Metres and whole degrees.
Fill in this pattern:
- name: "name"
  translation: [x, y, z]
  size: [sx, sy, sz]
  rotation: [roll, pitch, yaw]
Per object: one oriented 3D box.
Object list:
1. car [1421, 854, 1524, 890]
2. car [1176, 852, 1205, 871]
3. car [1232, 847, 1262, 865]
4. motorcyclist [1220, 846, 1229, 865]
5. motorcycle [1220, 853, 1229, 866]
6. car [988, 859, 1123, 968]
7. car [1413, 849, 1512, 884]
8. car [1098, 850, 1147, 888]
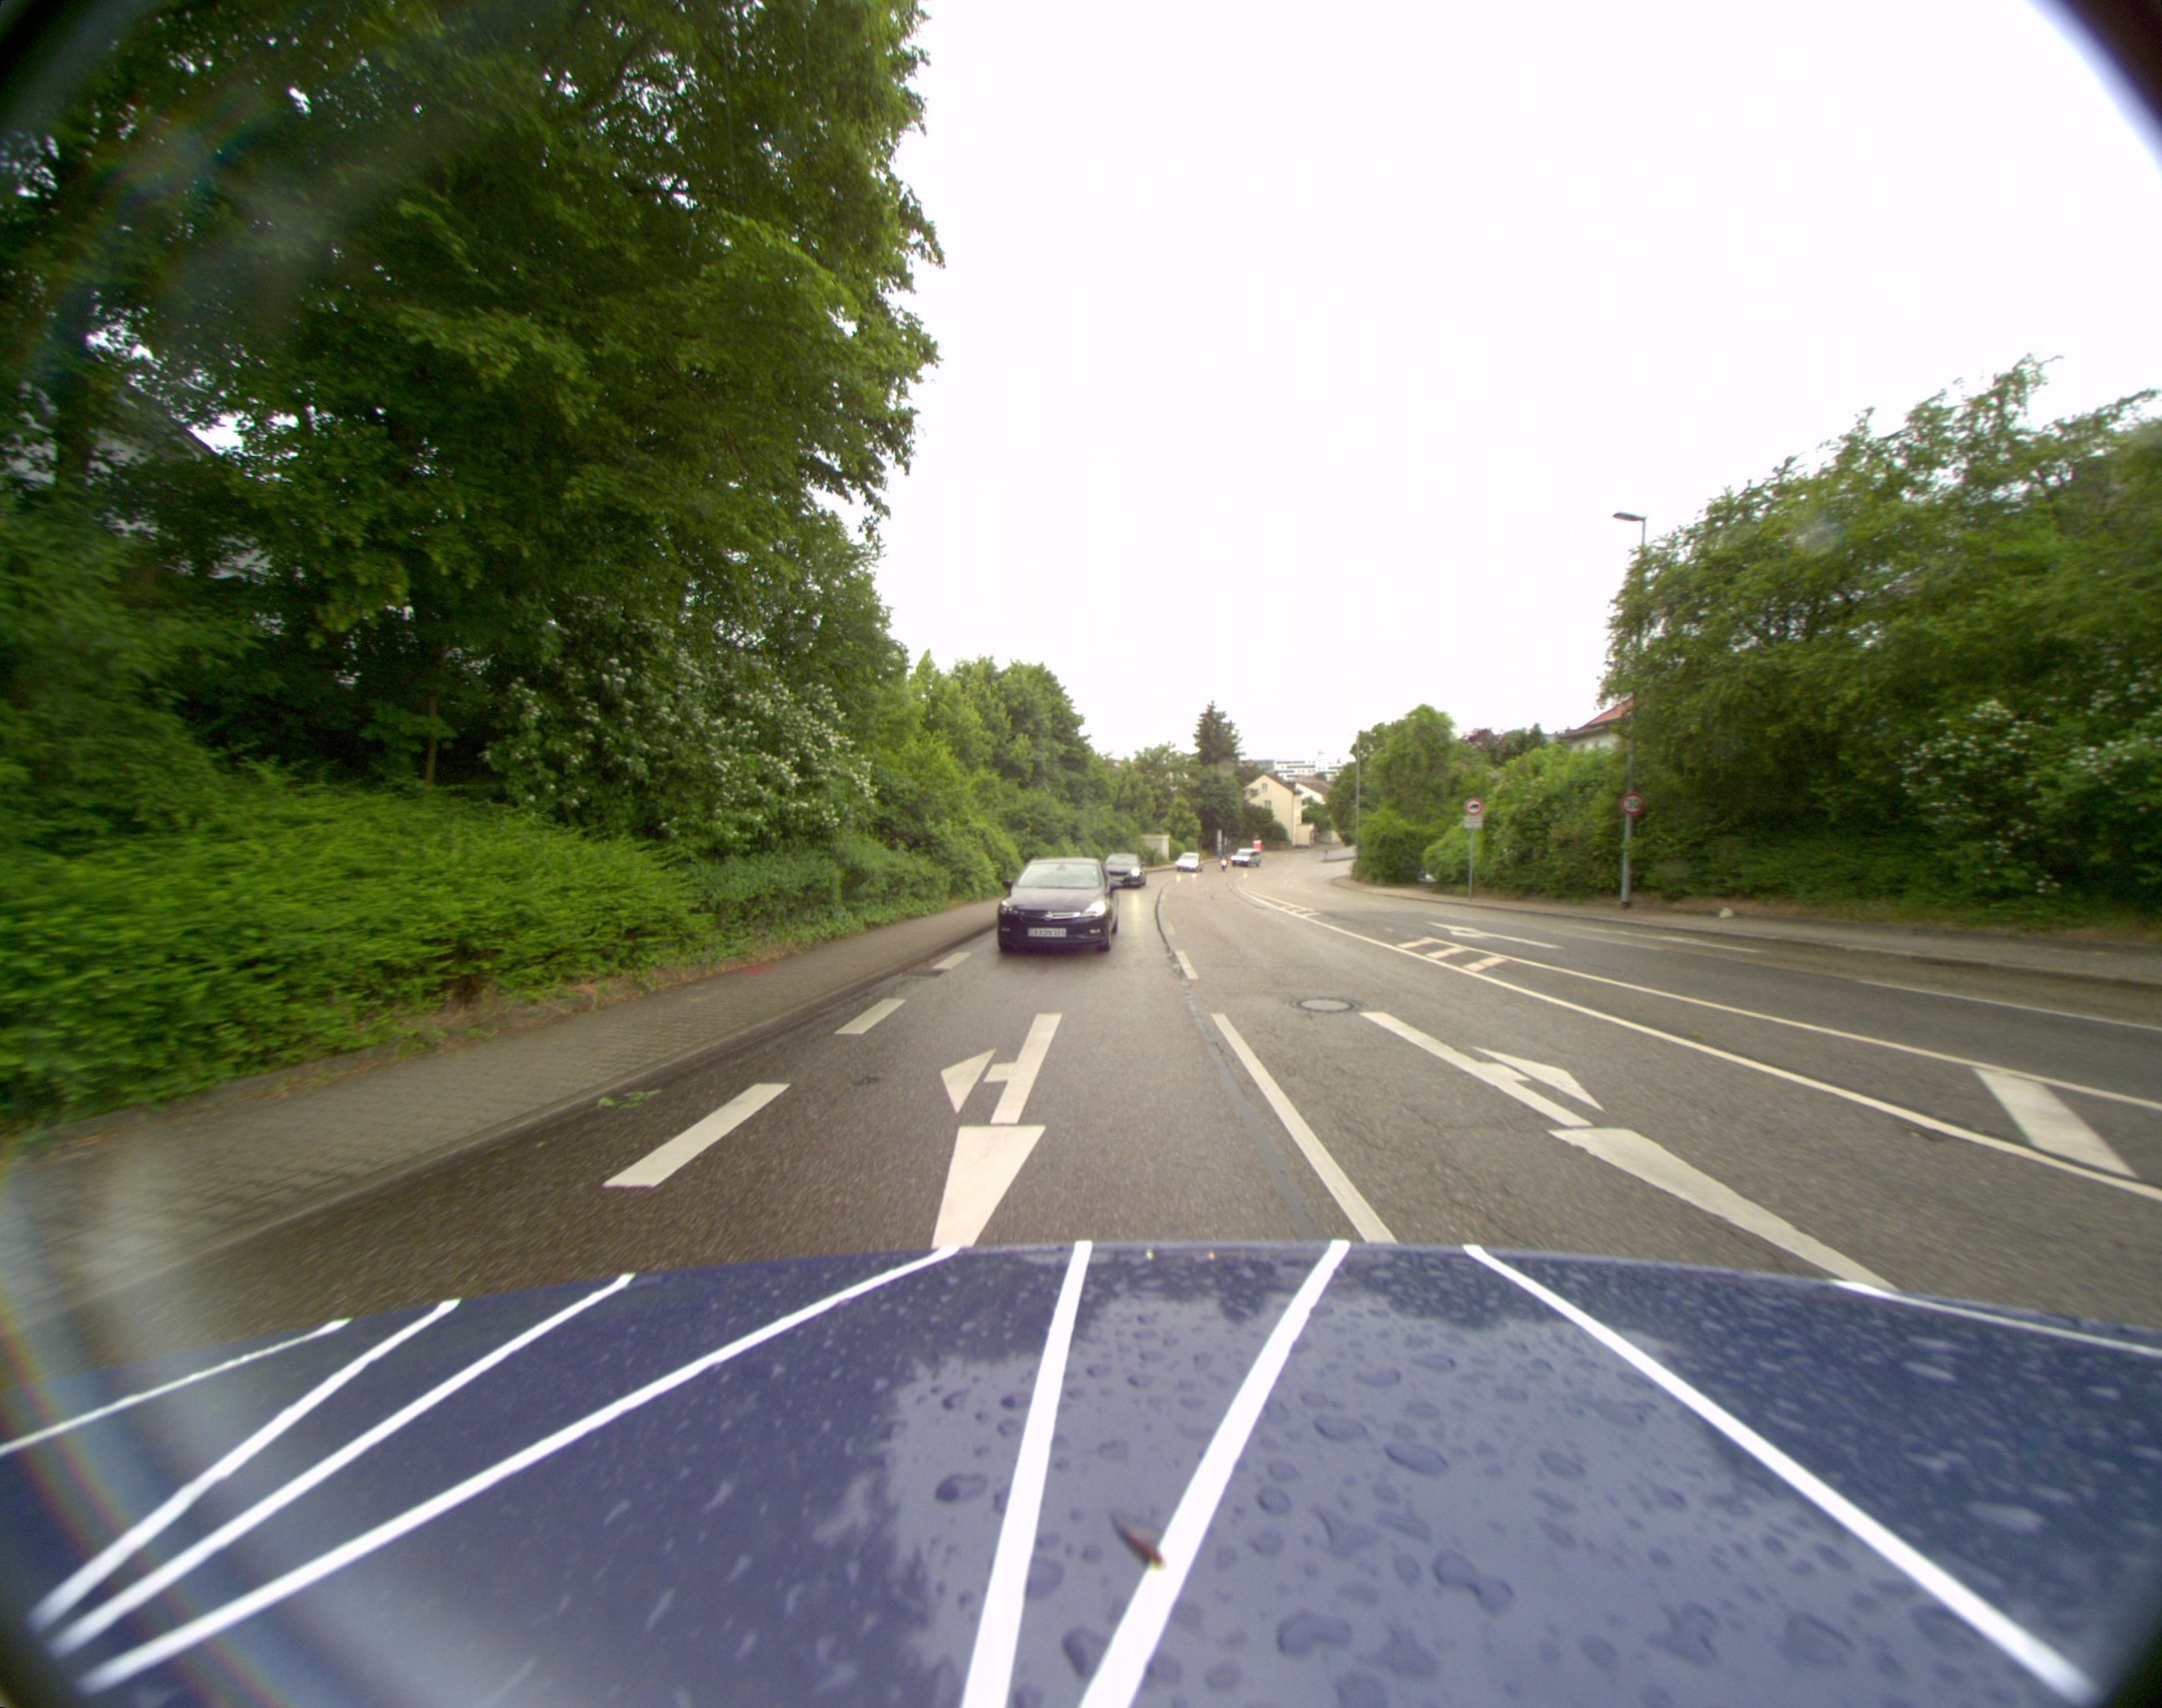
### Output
- name: "car"
  translation: [18.475, 0.831, 36.028]
  size: [3.908, 1.432, 1.812]
  rotation: [-4, 0, 9]
- name: "car"
  translation: [9.215, 0.588, 63.632]
  size: [1.815, 1.431, 4.004]
  rotation: [4, 1, 15]
- name: "car"
  translation: [17.271, 0.209, 78.934]
  size: [1.773, 1.765, 4.008]
  rotation: [4, 2, 32]
- name: "motorcyclist"
  translation: [12.725, 0.169, 67.314]
  size: [0.766, 1.633, 0.675]
  rotation: [2, 2, 11]
- name: "motorcycle"
  translation: [12.717, 0.443, 67.353]
  size: [0.692, 1.047, 1.748]
  rotation: [3, 2, 12]
- name: "car"
  translation: [-0.262, 0.866, 13.043]
  size: [1.816, 1.434, 4.163]
  rotation: [2, 1, 4]
- name: "car"
  translation: [19.358, 0.618, 38.738]
  size: [3.995, 1.527, 2.001]
  rotation: [-4, 0, 8]
- name: "car"
  translation: [1.923, 0.618, 33.948]
  size: [1.871, 1.497, 4.199]
  rotation: [1, 1, 7]
